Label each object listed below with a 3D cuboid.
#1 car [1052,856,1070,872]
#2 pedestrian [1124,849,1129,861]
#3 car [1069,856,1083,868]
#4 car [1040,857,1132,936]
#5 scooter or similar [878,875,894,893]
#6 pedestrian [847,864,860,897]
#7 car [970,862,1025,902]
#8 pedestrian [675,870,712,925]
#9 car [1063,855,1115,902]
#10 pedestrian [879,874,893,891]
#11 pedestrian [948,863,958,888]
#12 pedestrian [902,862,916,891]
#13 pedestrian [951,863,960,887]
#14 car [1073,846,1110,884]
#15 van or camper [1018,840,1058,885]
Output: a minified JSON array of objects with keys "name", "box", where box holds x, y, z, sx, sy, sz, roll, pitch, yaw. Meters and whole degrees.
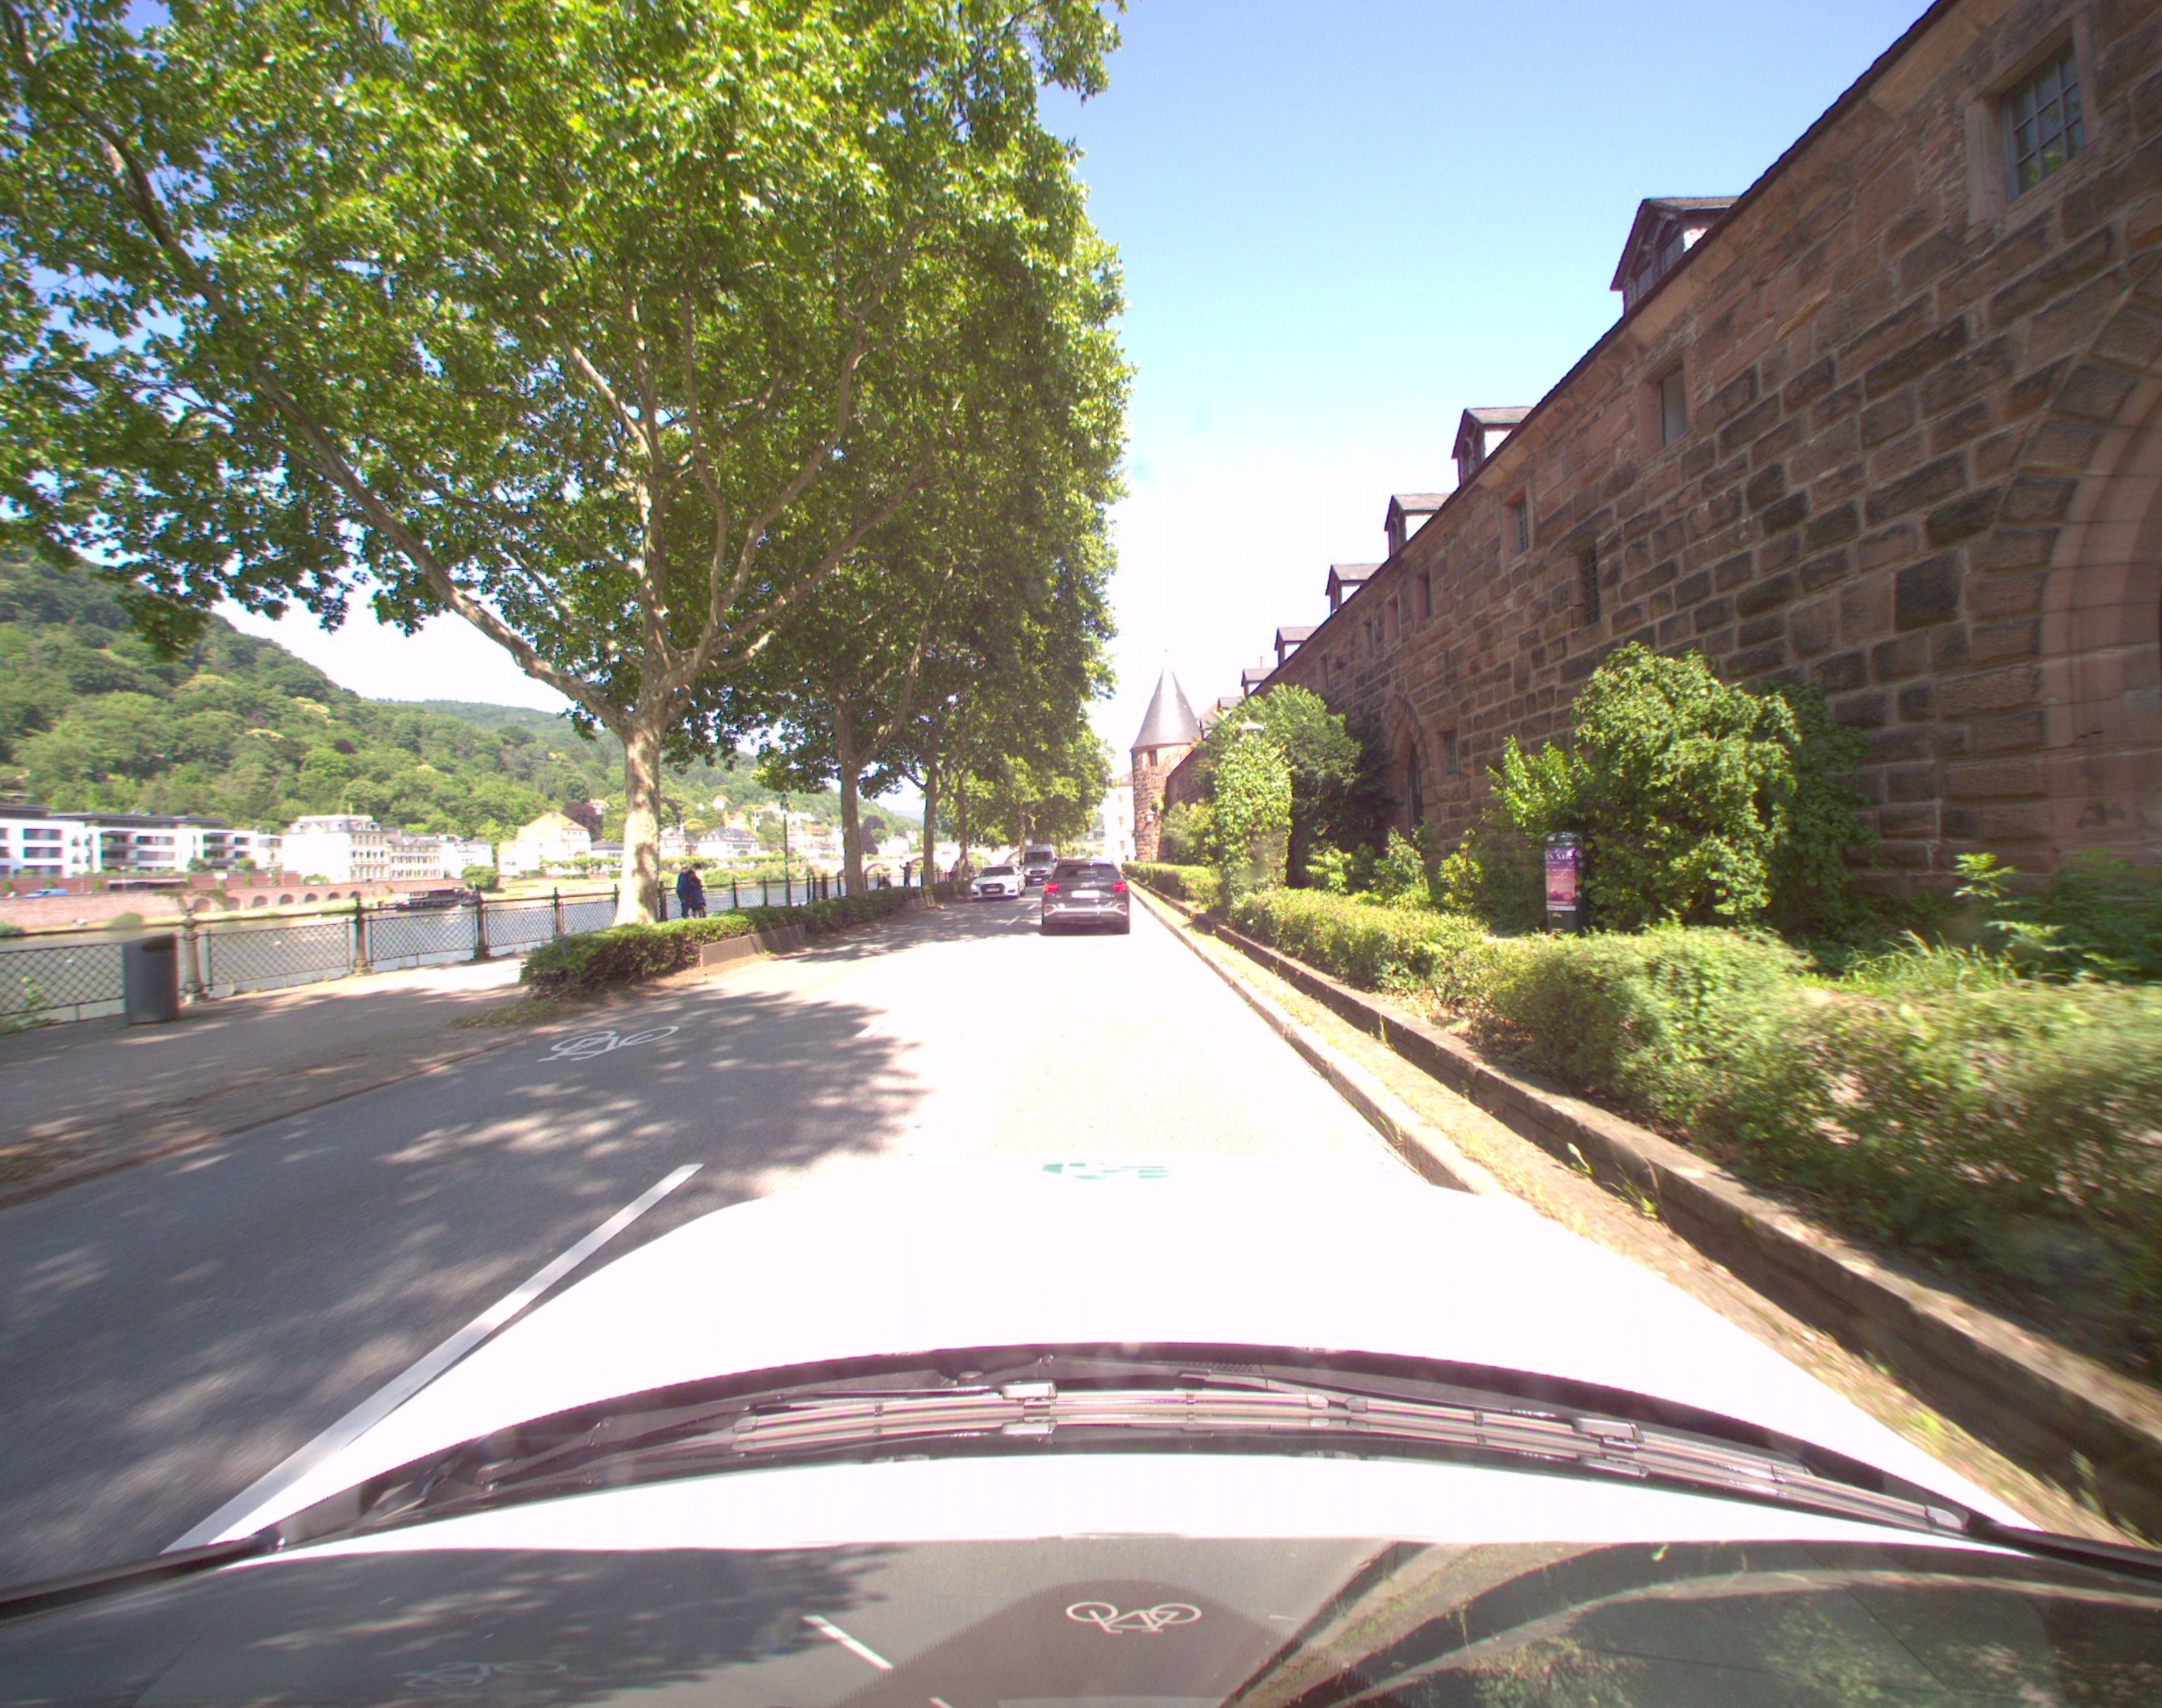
[{"name":"car","box":[-2.341,1.192,97.049,1.871,1.698,4.258,-4,0,0]},{"name":"pedestrian","box":[6.351,0.198,113.479,0.555,1.633,0.660,-1,-1,2]},{"name":"car","box":[-0.706,1.248,122.027,1.756,1.647,4.093,-4,0,3]},{"name":"car","box":[0.091,0.827,17.407,1.742,1.494,3.628,-1,0,0]},{"name":"scooter or similar","box":[-11.074,1.679,46.188,0.629,0.968,1.012,-1,-1,0]},{"name":"pedestrian","box":[-11.840,1.356,42.428,0.582,1.711,0.403,0,-1,-1]},{"name":"car","box":[-3.407,1.126,34.064,1.764,1.457,4.533,-3,-1,0]},{"name":"pedestrian","box":[-11.735,1.316,24.693,0.701,1.603,0.705,-2,-1,2]},{"name":"car","box":[0.363,0.891,31.039,1.794,1.562,3.718,-4,0,2]},{"name":"pedestrian","box":[-11.072,1.621,46.334,0.605,0.884,0.705,-2,0,0]},{"name":"pedestrian","box":[-8.421,1.416,53.688,0.456,1.554,0.586,-4,-1,0]},{"name":"pedestrian","box":[-9.653,1.283,45.734,0.642,1.618,0.458,0,-1,-1]},{"name":"pedestrian","box":[-8.447,1.425,54.860,0.456,1.554,0.586,-4,-1,1]},{"name":"car","box":[0.605,0.632,48.309,1.987,2.013,4.000,-4,0,1]},{"name":"van or camper","box":[-2.687,0.569,52.233,1.954,2.567,5.841,-4,-1,1]}]
